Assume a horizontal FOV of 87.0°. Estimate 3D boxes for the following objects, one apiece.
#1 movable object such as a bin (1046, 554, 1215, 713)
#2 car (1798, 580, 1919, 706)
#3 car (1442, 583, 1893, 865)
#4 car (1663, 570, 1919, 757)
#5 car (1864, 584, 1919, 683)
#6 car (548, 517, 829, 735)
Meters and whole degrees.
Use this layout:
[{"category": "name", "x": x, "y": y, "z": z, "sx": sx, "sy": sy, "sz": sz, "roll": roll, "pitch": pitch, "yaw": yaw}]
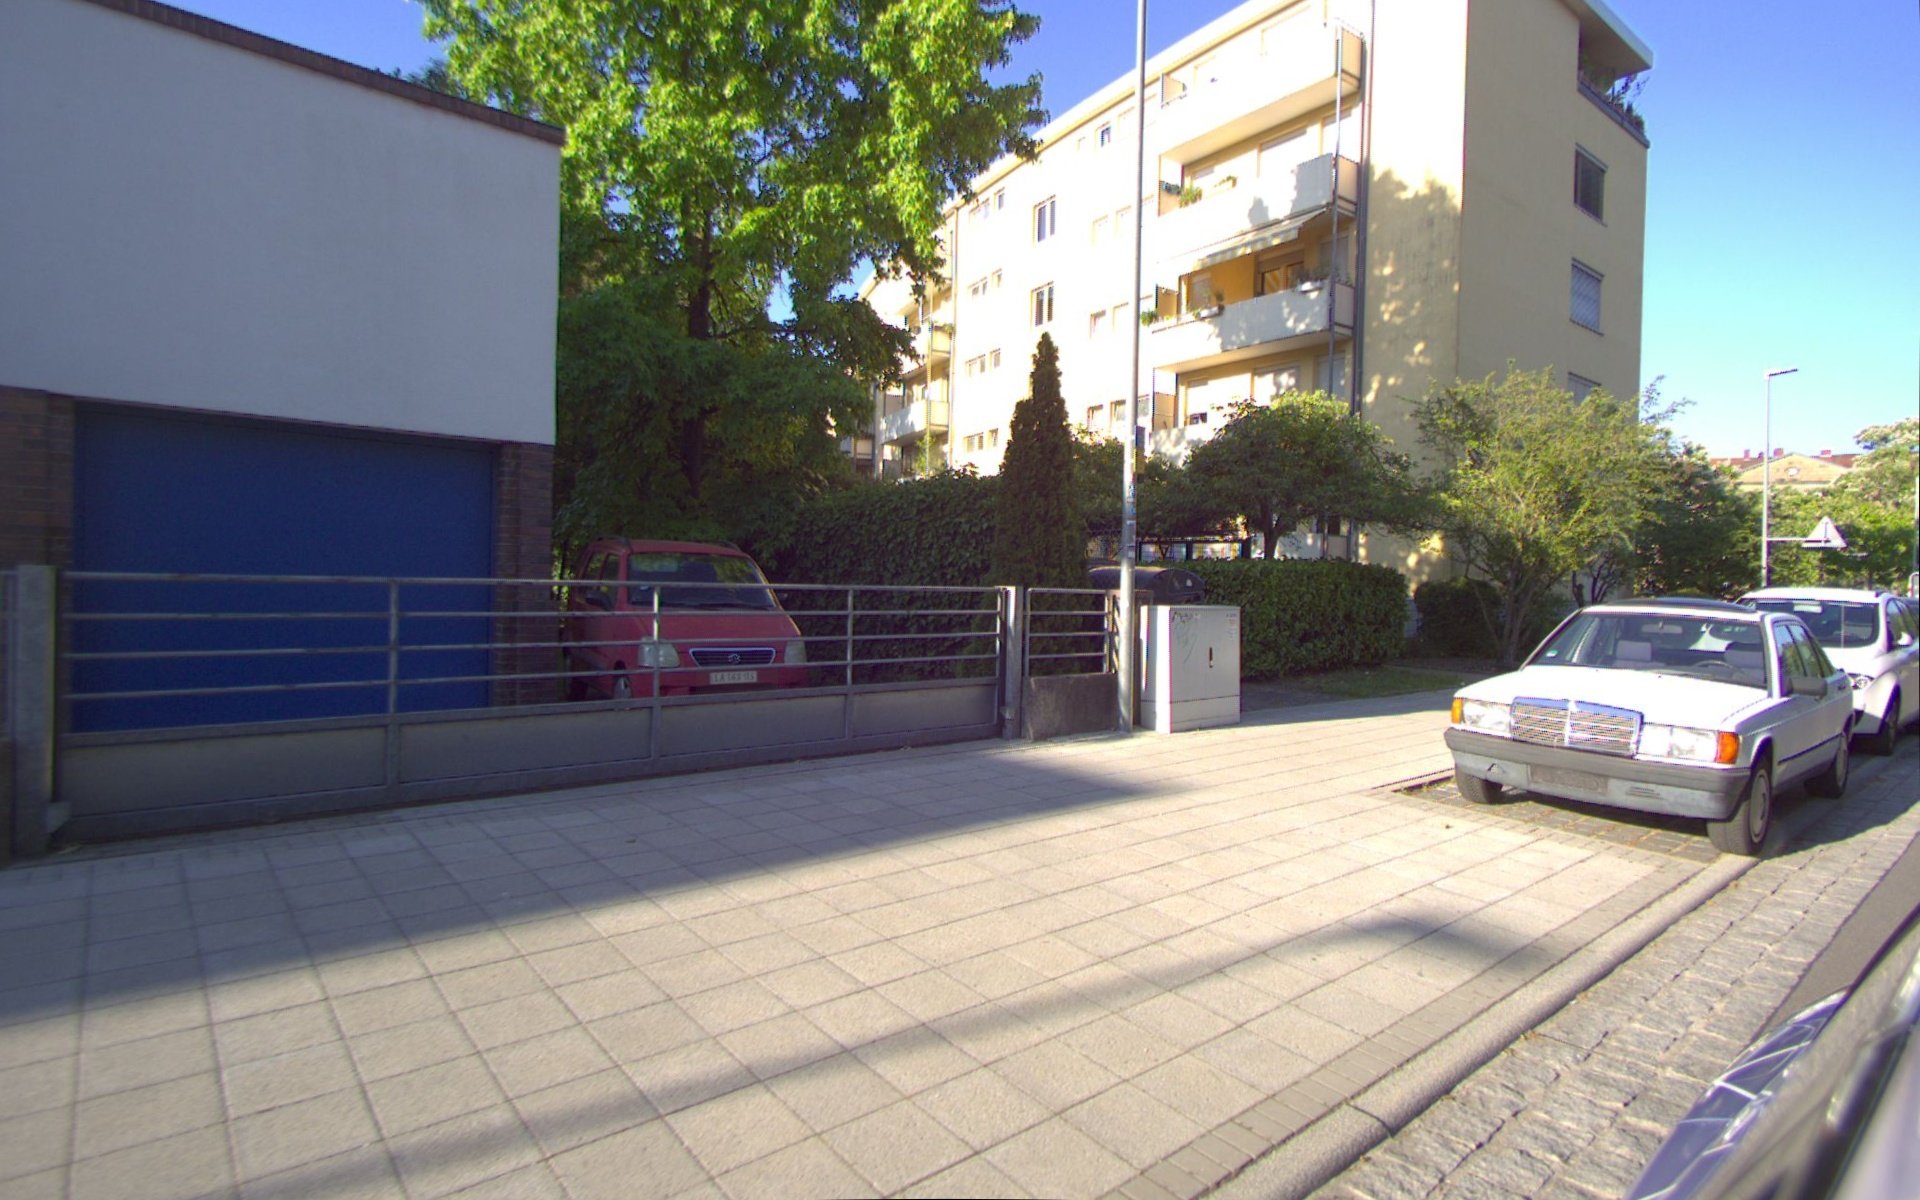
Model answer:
[{"category": "movable object such as a bin", "x": 1.689, "y": 0.295, "z": 10.082, "sx": 1.102, "sy": 1.450, "sz": 1.240, "roll": 0, "pitch": 1, "yaw": -38}, {"category": "car", "x": 13.652, "y": 0.562, "z": 14.630, "sx": 4.072, "sy": 1.574, "sz": 1.682, "roll": 0, "pitch": 3, "yaw": -41}, {"category": "car", "x": 5.234, "y": 0.641, "z": 7.242, "sx": 4.297, "sy": 1.407, "sz": 1.567, "roll": 0, "pitch": 3, "yaw": -40}, {"category": "car", "x": 9.125, "y": 0.539, "z": 10.717, "sx": 4.056, "sy": 1.574, "sz": 1.683, "roll": 0, "pitch": 3, "yaw": -40}, {"category": "car", "x": 17.675, "y": 0.597, "z": 18.110, "sx": 4.096, "sy": 1.630, "sz": 1.713, "roll": 0, "pitch": 3, "yaw": -42}, {"category": "car", "x": -2.725, "y": 0.160, "z": 9.611, "sx": 1.611, "sy": 1.662, "sz": 3.507, "roll": 0, "pitch": 1, "yaw": -32}]
